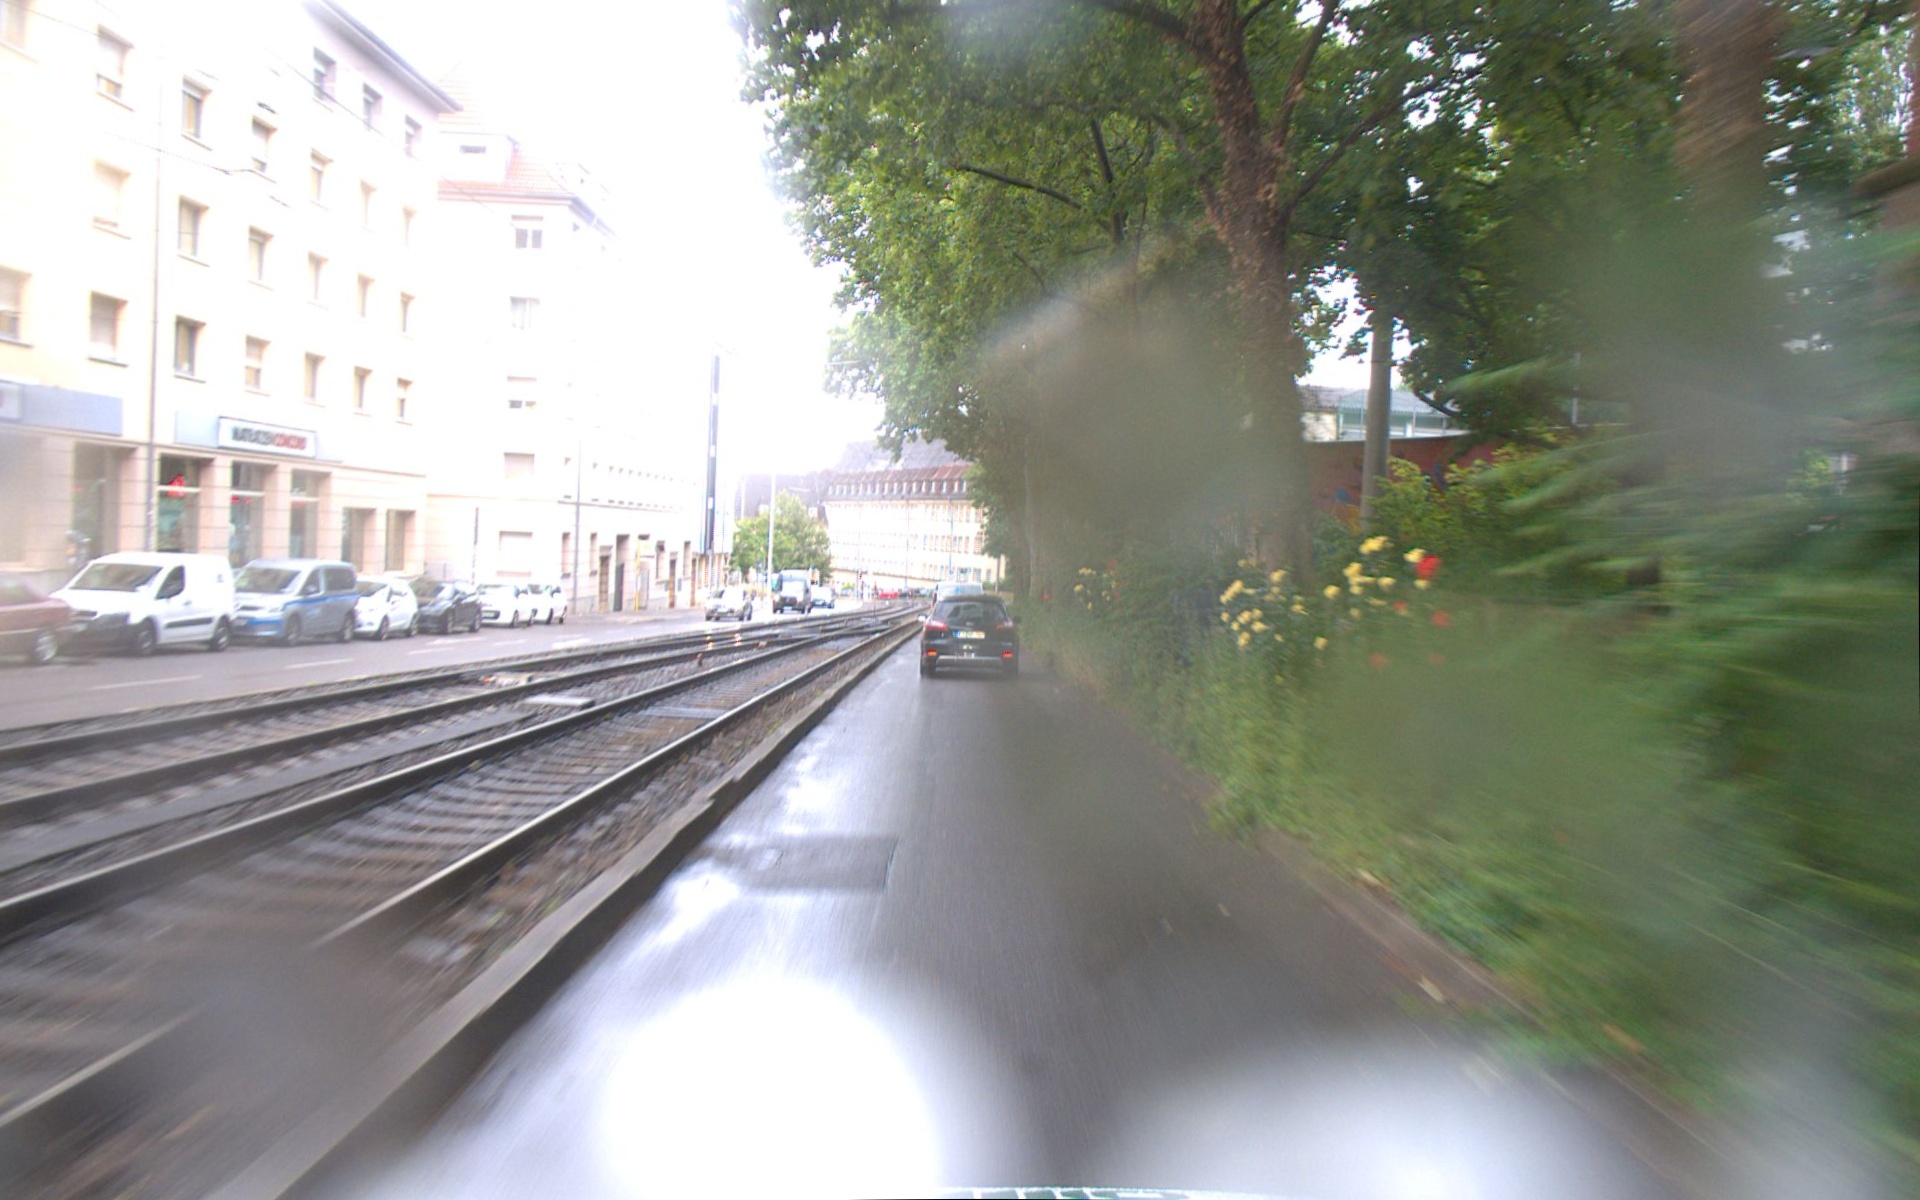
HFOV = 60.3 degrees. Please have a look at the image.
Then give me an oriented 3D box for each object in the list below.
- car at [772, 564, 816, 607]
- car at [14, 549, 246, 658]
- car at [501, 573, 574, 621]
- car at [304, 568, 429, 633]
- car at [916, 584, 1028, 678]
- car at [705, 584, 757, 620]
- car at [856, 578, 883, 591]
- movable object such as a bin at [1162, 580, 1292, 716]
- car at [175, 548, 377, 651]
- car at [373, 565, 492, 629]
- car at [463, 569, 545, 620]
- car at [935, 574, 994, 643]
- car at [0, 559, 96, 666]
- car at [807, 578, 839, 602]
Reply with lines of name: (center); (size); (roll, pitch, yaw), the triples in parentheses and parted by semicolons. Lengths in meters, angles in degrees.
car: (-10.242, -0.899, 102.467); (1.952, 2.494, 5.999); (2, 1, 1)
car: (-14.791, 0.003, 29.780); (1.828, 1.746, 4.461); (2, 1, 1)
car: (-14.787, -0.139, 58.098); (1.674, 1.474, 3.541); (4, 1, -2)
car: (-14.636, -0.009, 41.010); (1.657, 1.464, 4.048); (-3, 1, -2)
car: (0.159, 0.518, 31.042); (1.894, 1.478, 4.317); (3, 1, -2)
car: (-10.539, 0.060, 76.319); (1.676, 1.487, 4.282); (1, 2, 1)
car: (-11.686, -1.972, 213.407); (1.969, 1.569, 3.967); (0, 2, -26)
movable object such as a bin: (3.153, 0.534, 19.442); (1.371, 1.478, 1.217); (1, 2, 16)
car: (-14.693, -0.091, 35.912); (1.953, 1.937, 5.461); (4, 2, 1)
car: (-14.568, -0.129, 45.966); (1.776, 1.524, 4.583); (3, 2, 0)
car: (-14.708, -0.209, 53.543); (1.670, 1.420, 3.934); (3, 2, -3)
car: (0.102, 0.219, 53.212); (1.705, 2.048, 3.903); (2, 1, -2)
car: (-14.764, 0.164, 24.022); (1.813, 1.457, 4.832); (3, 1, 0)
car: (-9.983, -0.749, 120.898); (1.841, 1.511, 4.856); (2, 3, 1)
